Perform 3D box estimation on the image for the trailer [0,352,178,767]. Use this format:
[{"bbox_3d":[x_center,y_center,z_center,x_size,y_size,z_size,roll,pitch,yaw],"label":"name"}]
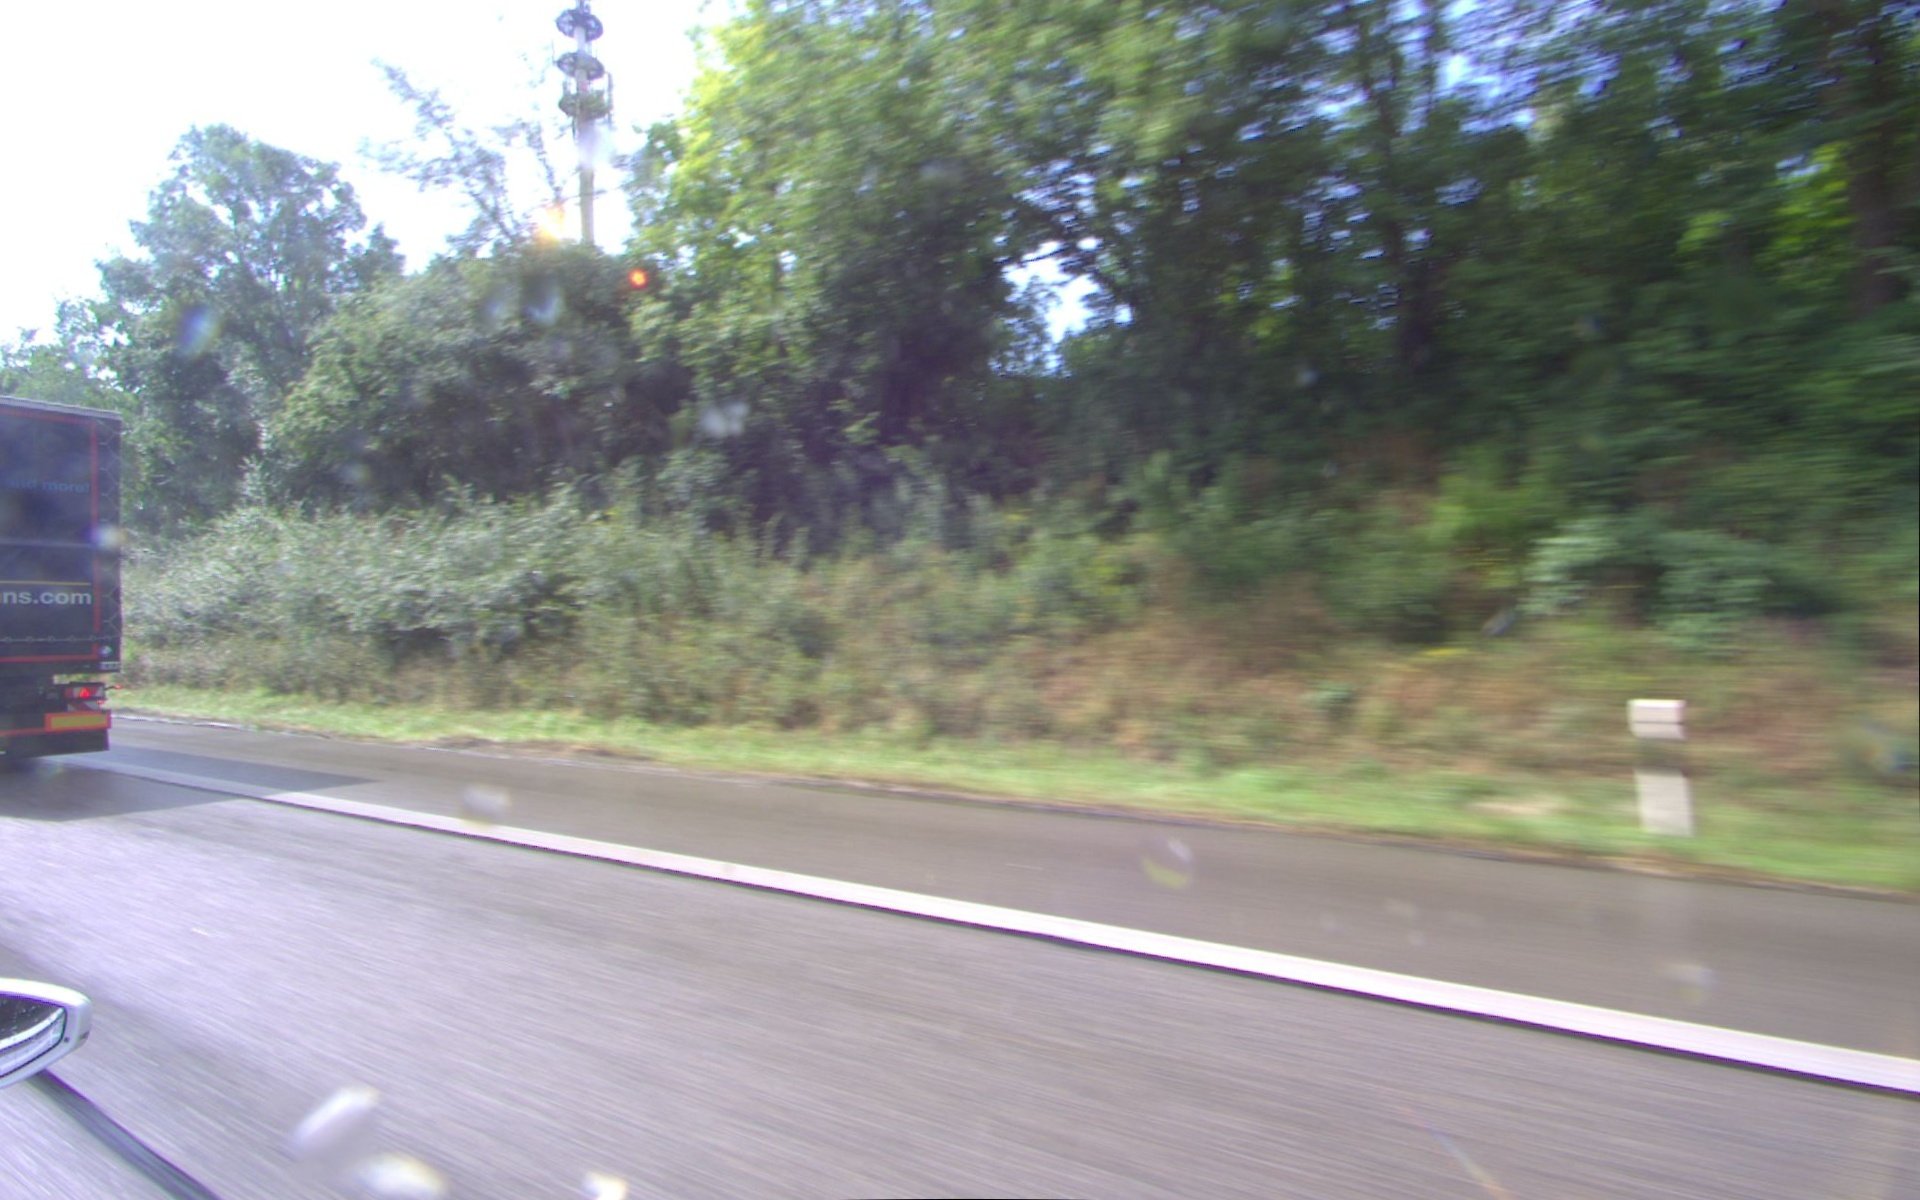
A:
[{"bbox_3d":[-15.949,-0.297,14.280,13.904,4.368,3.083,-1,-1,32],"label":"trailer"}]
